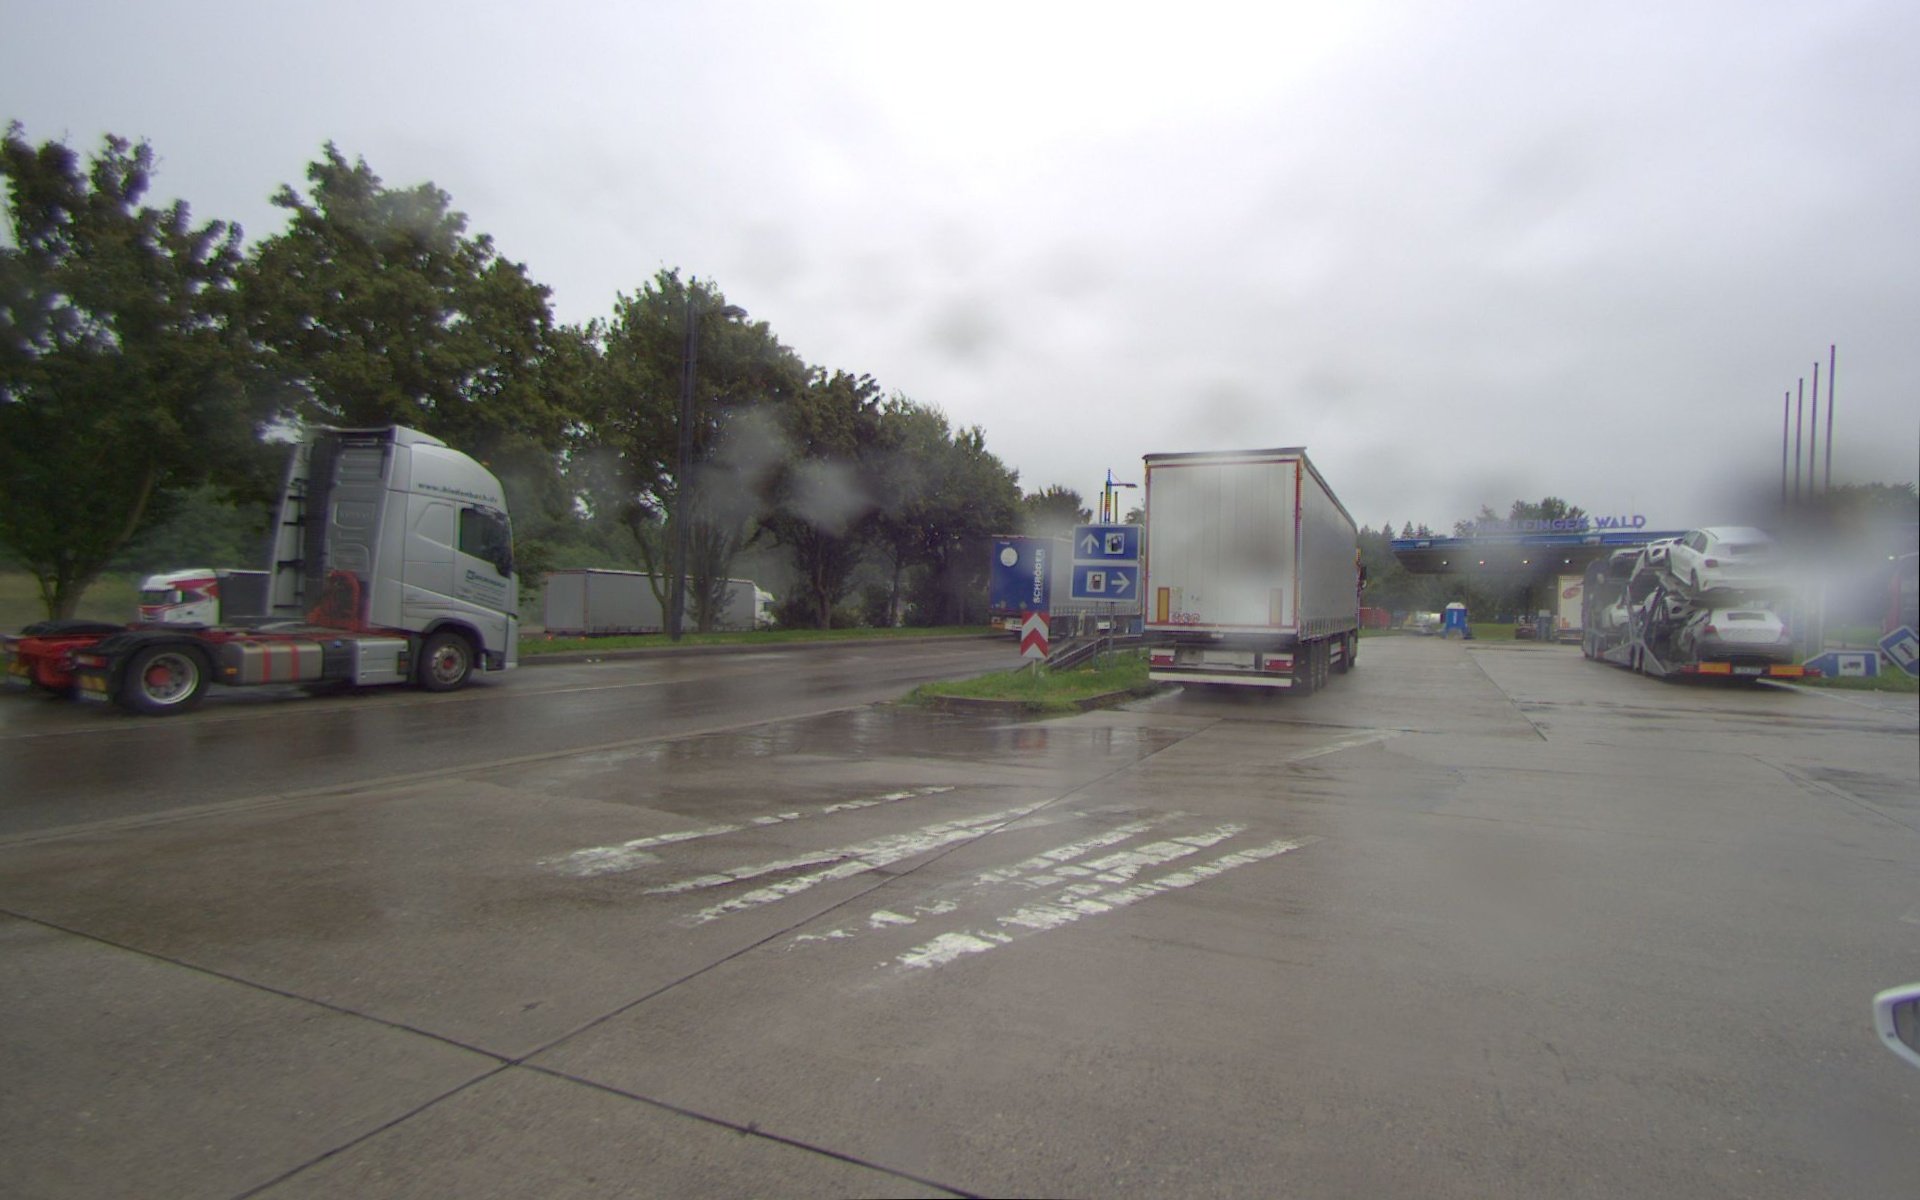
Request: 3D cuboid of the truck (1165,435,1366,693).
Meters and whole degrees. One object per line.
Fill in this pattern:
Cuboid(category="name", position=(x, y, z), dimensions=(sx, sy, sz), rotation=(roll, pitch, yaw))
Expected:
Cuboid(category="truck", position=(7.025, -0.488, 21.422), dimensions=(2.333, 3.926, 12.444), rotation=(1, 0, 25))

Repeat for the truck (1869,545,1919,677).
Cuboid(category="truck", position=(35.074, 0.451, 36.663), dimensions=(1.960, 4.610, 4.782), rotation=(2, 0, 33))

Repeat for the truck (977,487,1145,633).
Cuboid(category="truck", position=(4.692, -1.493, 43.053), dimensions=(4.711, 5.376, 11.071), rotation=(1, 0, 19))

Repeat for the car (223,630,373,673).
Cuboid(category="car", position=(-25.233, 1.960, 38.475), dimensions=(1.850, 1.500, 4.502), rotation=(1, -2, 23))

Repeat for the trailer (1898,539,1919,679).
Cuboid(category="trailer", position=(31.135, 0.256, 30.564), dimensions=(1.966, 4.620, 9.783), rotation=(2, 0, 33))

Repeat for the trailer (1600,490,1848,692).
Cuboid(category="trailer", position=(19.765, -0.188, 26.938), dimensions=(3.167, 4.245, 11.514), rotation=(2, 1, 27))

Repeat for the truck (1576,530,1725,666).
Cuboid(category="truck", position=(24.313, -0.081, 35.853), dimensions=(3.184, 4.244, 8.432), rotation=(2, 1, 27))

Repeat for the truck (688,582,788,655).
Cuboid(category="truck", position=(-13.099, 1.176, 59.814), dimensions=(2.826, 4.105, 5.933), rotation=(0, -2, 23))

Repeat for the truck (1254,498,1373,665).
Cuboid(category="truck", position=(9.766, -0.404, 27.318), dimensions=(2.333, 3.926, 7.005), rotation=(1, 0, 25))

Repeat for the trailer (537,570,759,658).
Cuboid(category="trailer", position=(-15.834, 0.919, 53.127), dimensions=(2.848, 4.034, 14.117), rotation=(0, -2, 22))

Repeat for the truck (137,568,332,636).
Cuboid(category="truck", position=(-40.796, 0.118, 56.938), dimensions=(2.730, 3.552, 8.675), rotation=(1, 0, 27))

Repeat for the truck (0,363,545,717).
Cuboid(category="truck", position=(-9.678, -0.653, 14.705), dimensions=(2.870, 3.956, 6.310), rotation=(1, 0, 26))
